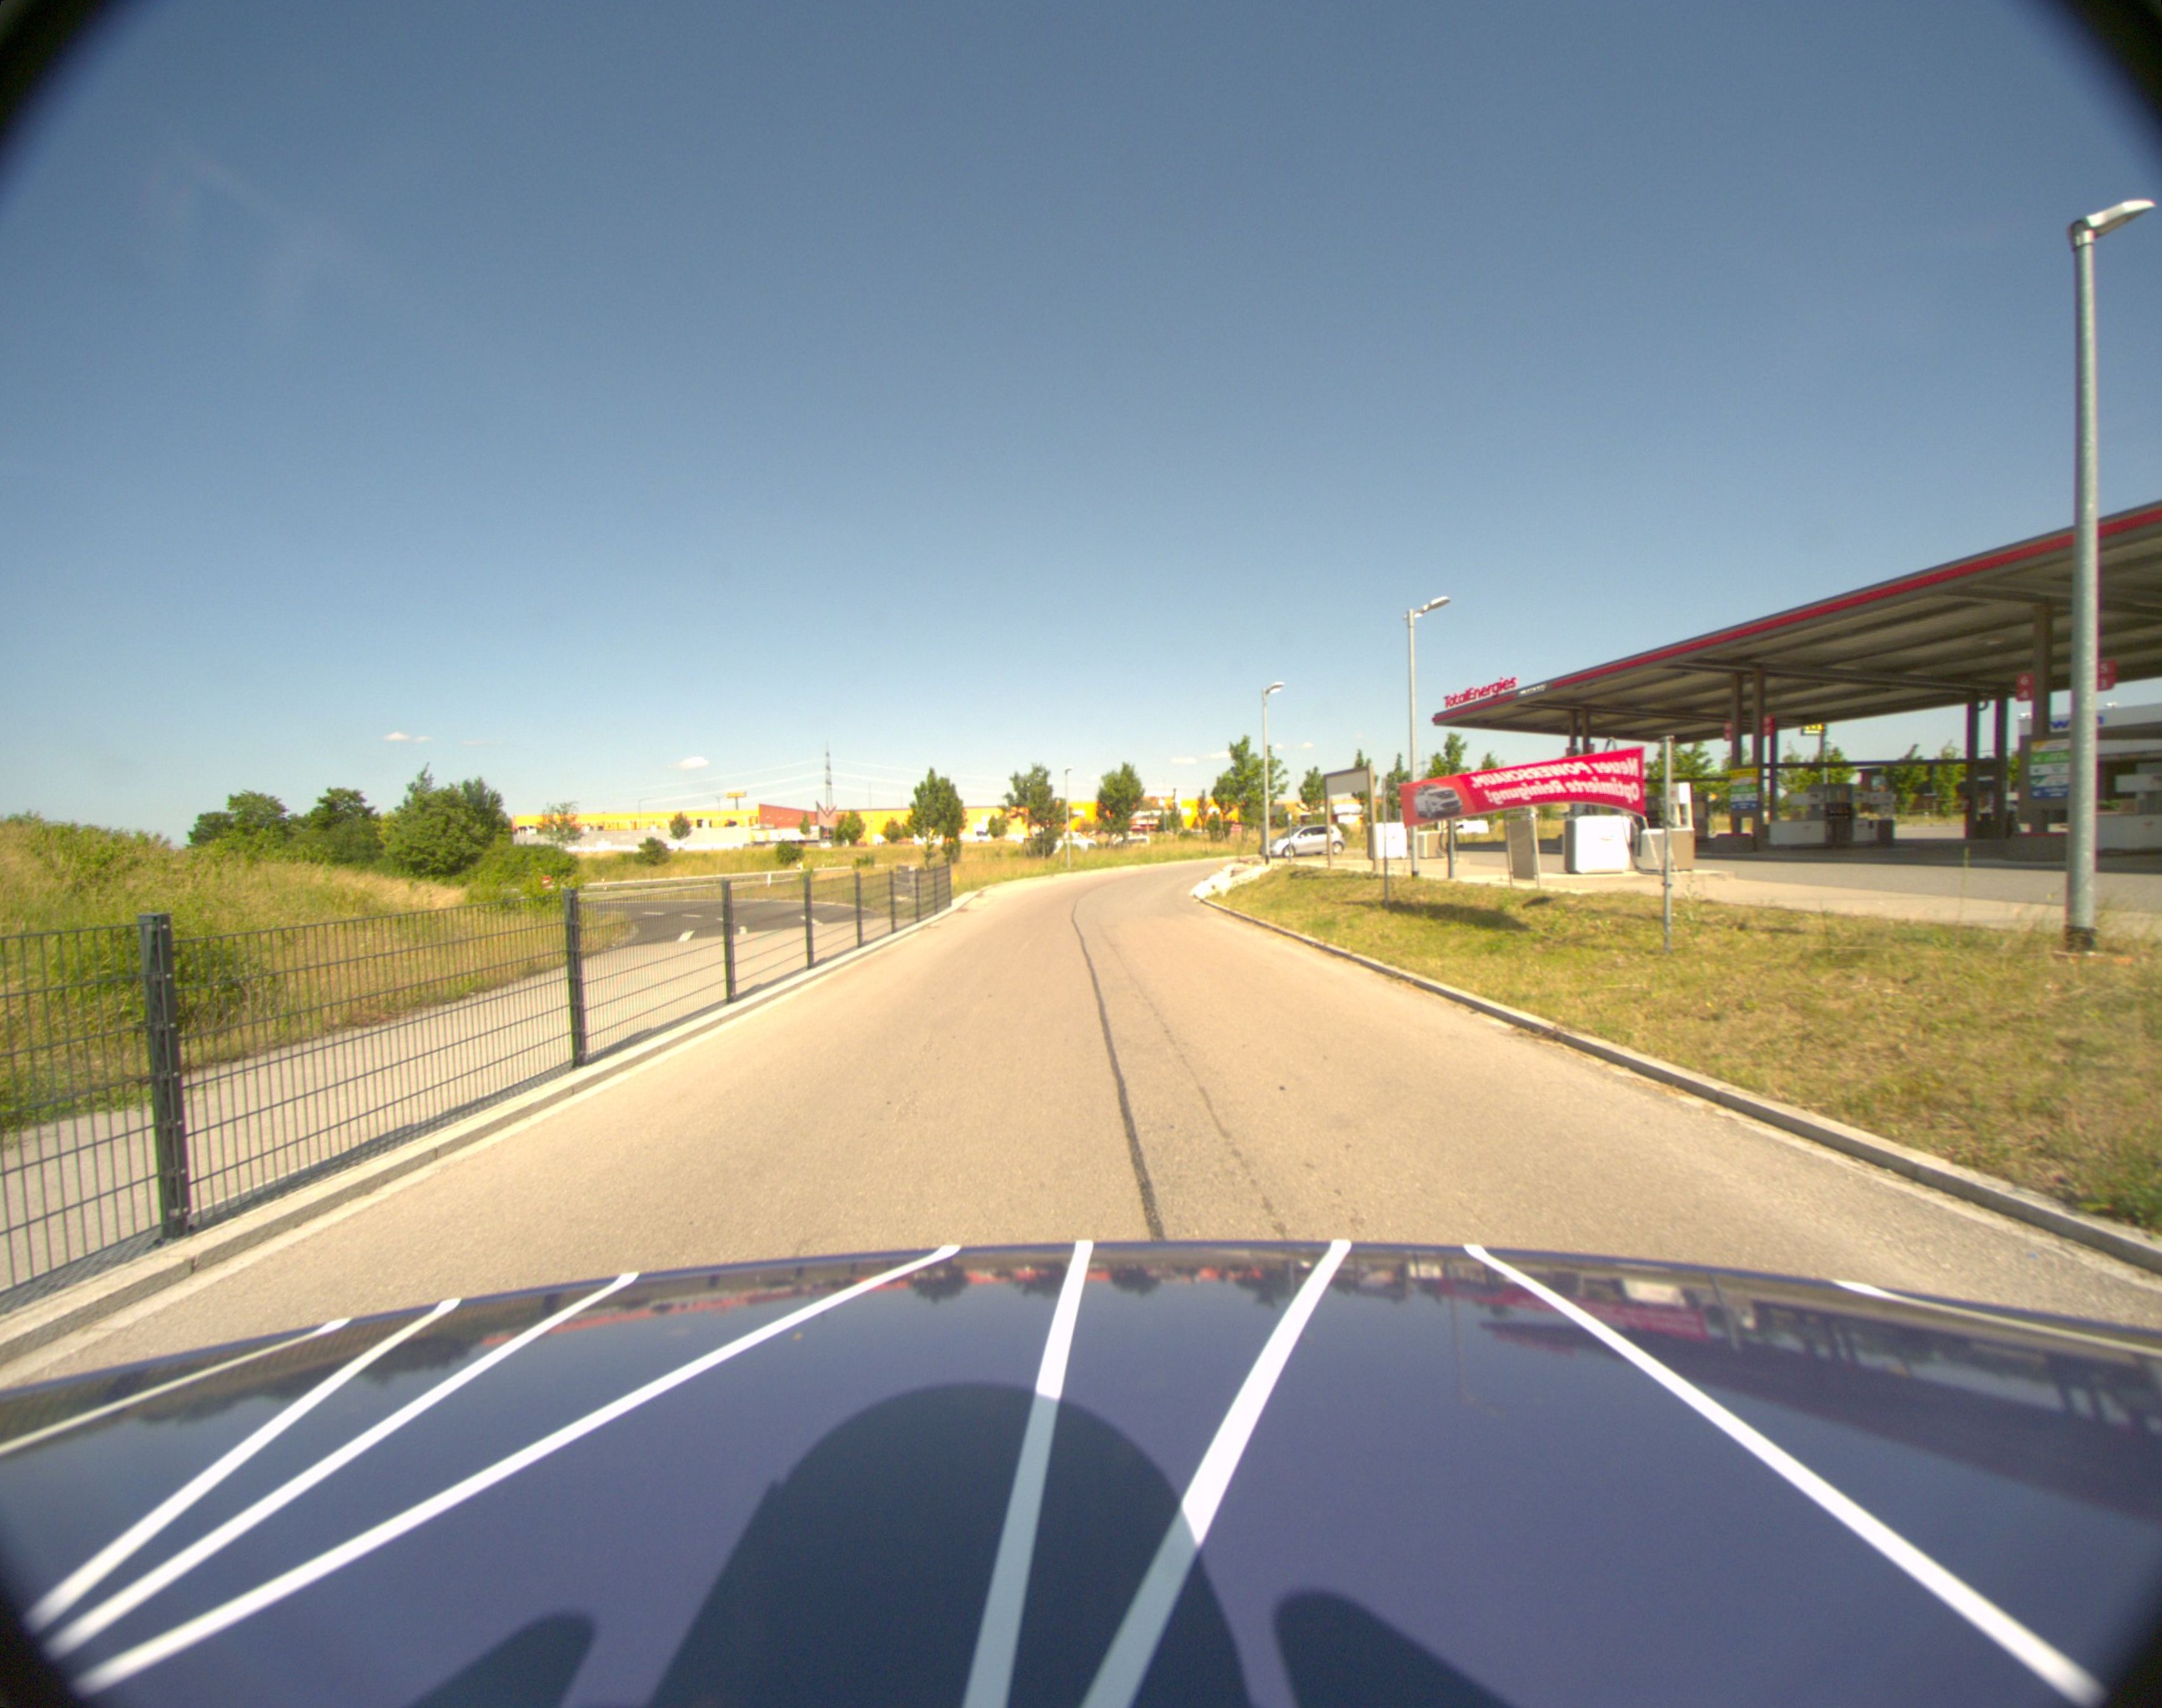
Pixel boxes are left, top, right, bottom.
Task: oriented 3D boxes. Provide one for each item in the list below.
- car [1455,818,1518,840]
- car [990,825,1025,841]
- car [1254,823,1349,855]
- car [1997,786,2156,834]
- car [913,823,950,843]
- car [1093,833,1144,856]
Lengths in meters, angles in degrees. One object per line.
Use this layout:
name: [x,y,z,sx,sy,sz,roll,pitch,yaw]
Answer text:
car: [39.701,-2.433,74.446,5.254,2.002,1.998,-2,1,-7]
car: [-10.106,-2.878,104.141,4.635,2.002,1.999,-2,1,-6]
car: [10.370,-0.692,35.842,3.961,1.459,1.745,0,1,-11]
car: [37.537,-1.646,28.704,3.935,1.565,1.795,-2,1,-5]
car: [-20.337,-2.853,103.502,4.635,2.534,1.999,-2,1,-6]
car: [3.559,-0.890,73.142,4.635,2.002,1.999,-2,1,-6]
